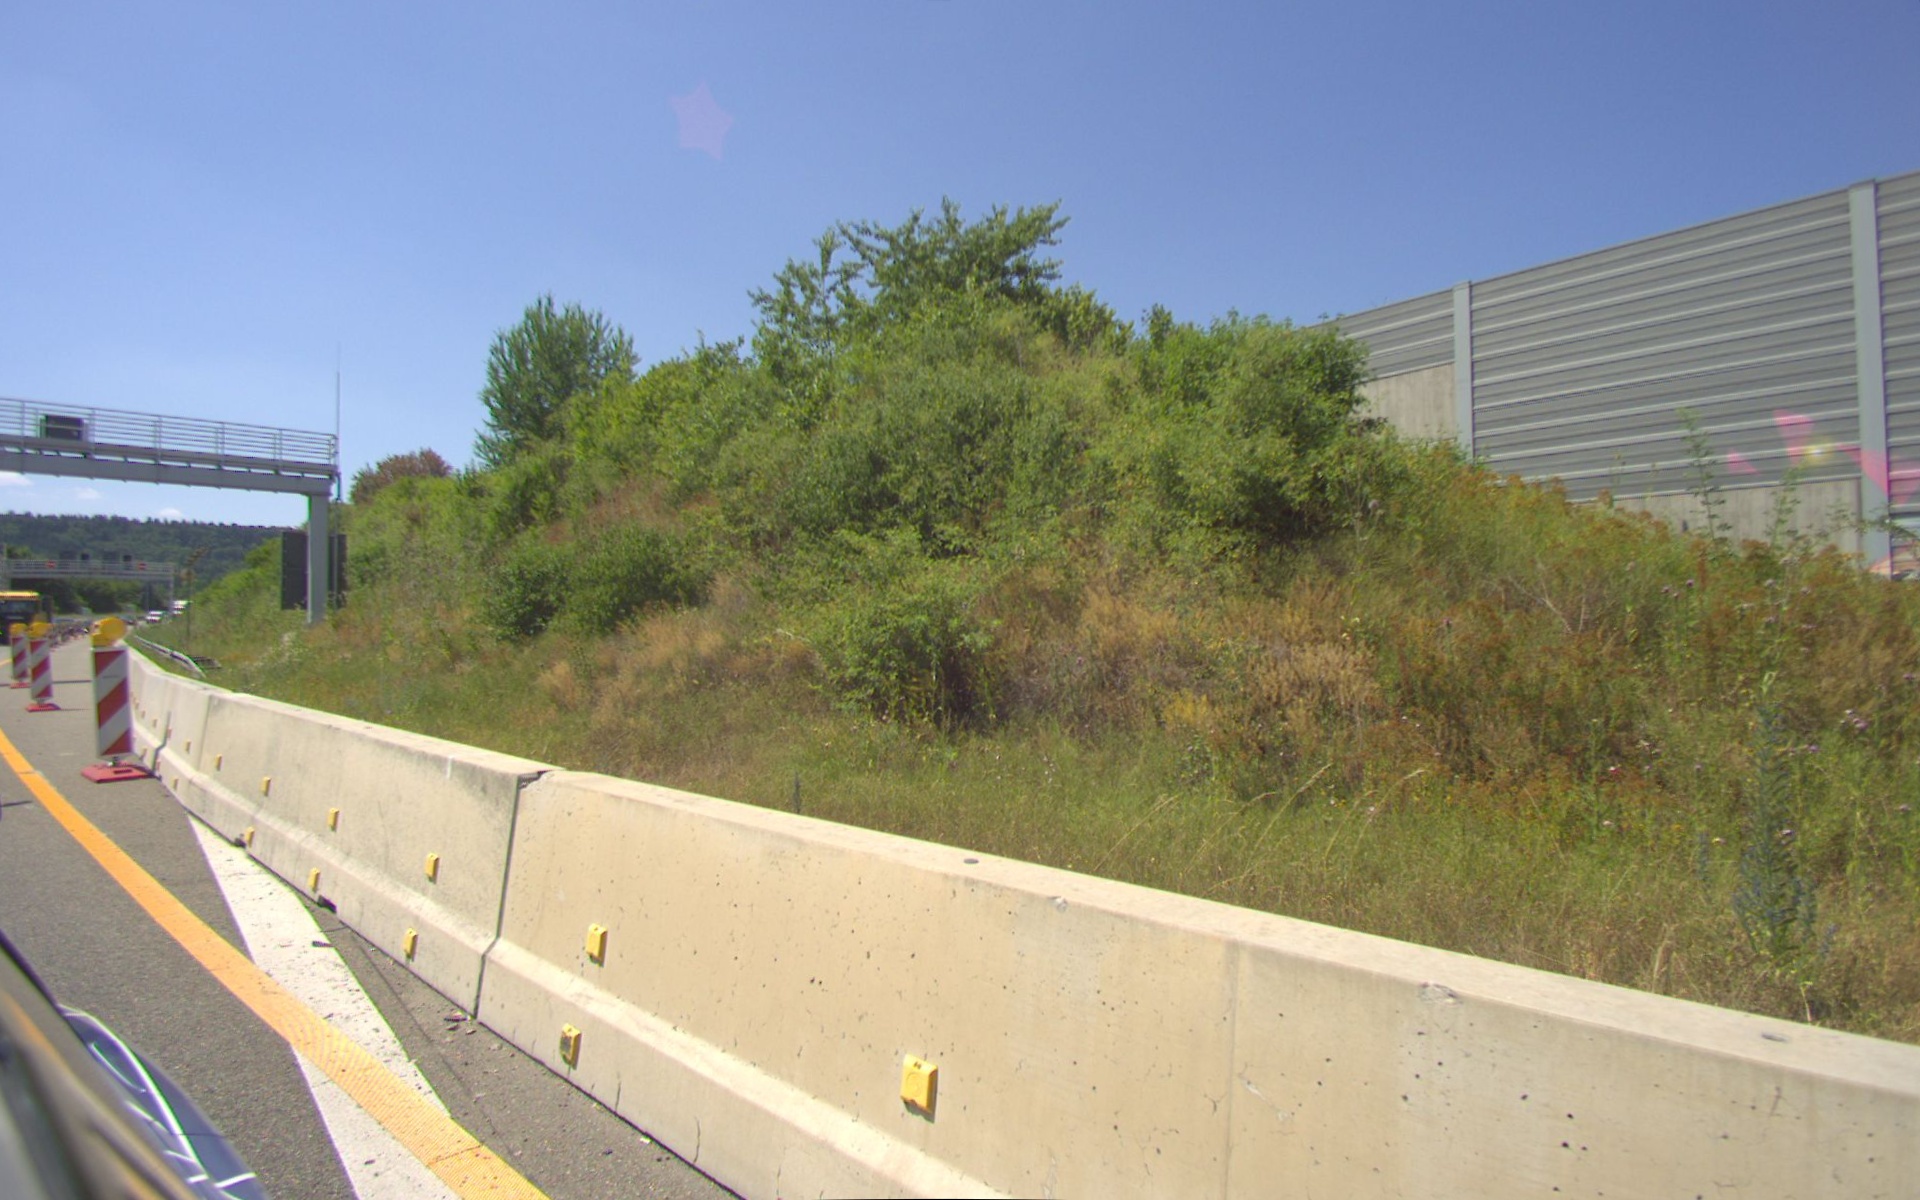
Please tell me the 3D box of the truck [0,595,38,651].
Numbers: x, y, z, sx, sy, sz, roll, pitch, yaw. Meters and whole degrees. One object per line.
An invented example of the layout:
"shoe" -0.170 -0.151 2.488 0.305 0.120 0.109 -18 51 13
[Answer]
"truck" -65.799 1.687 69.755 3.182 3.689 7.093 -1 -2 -41
